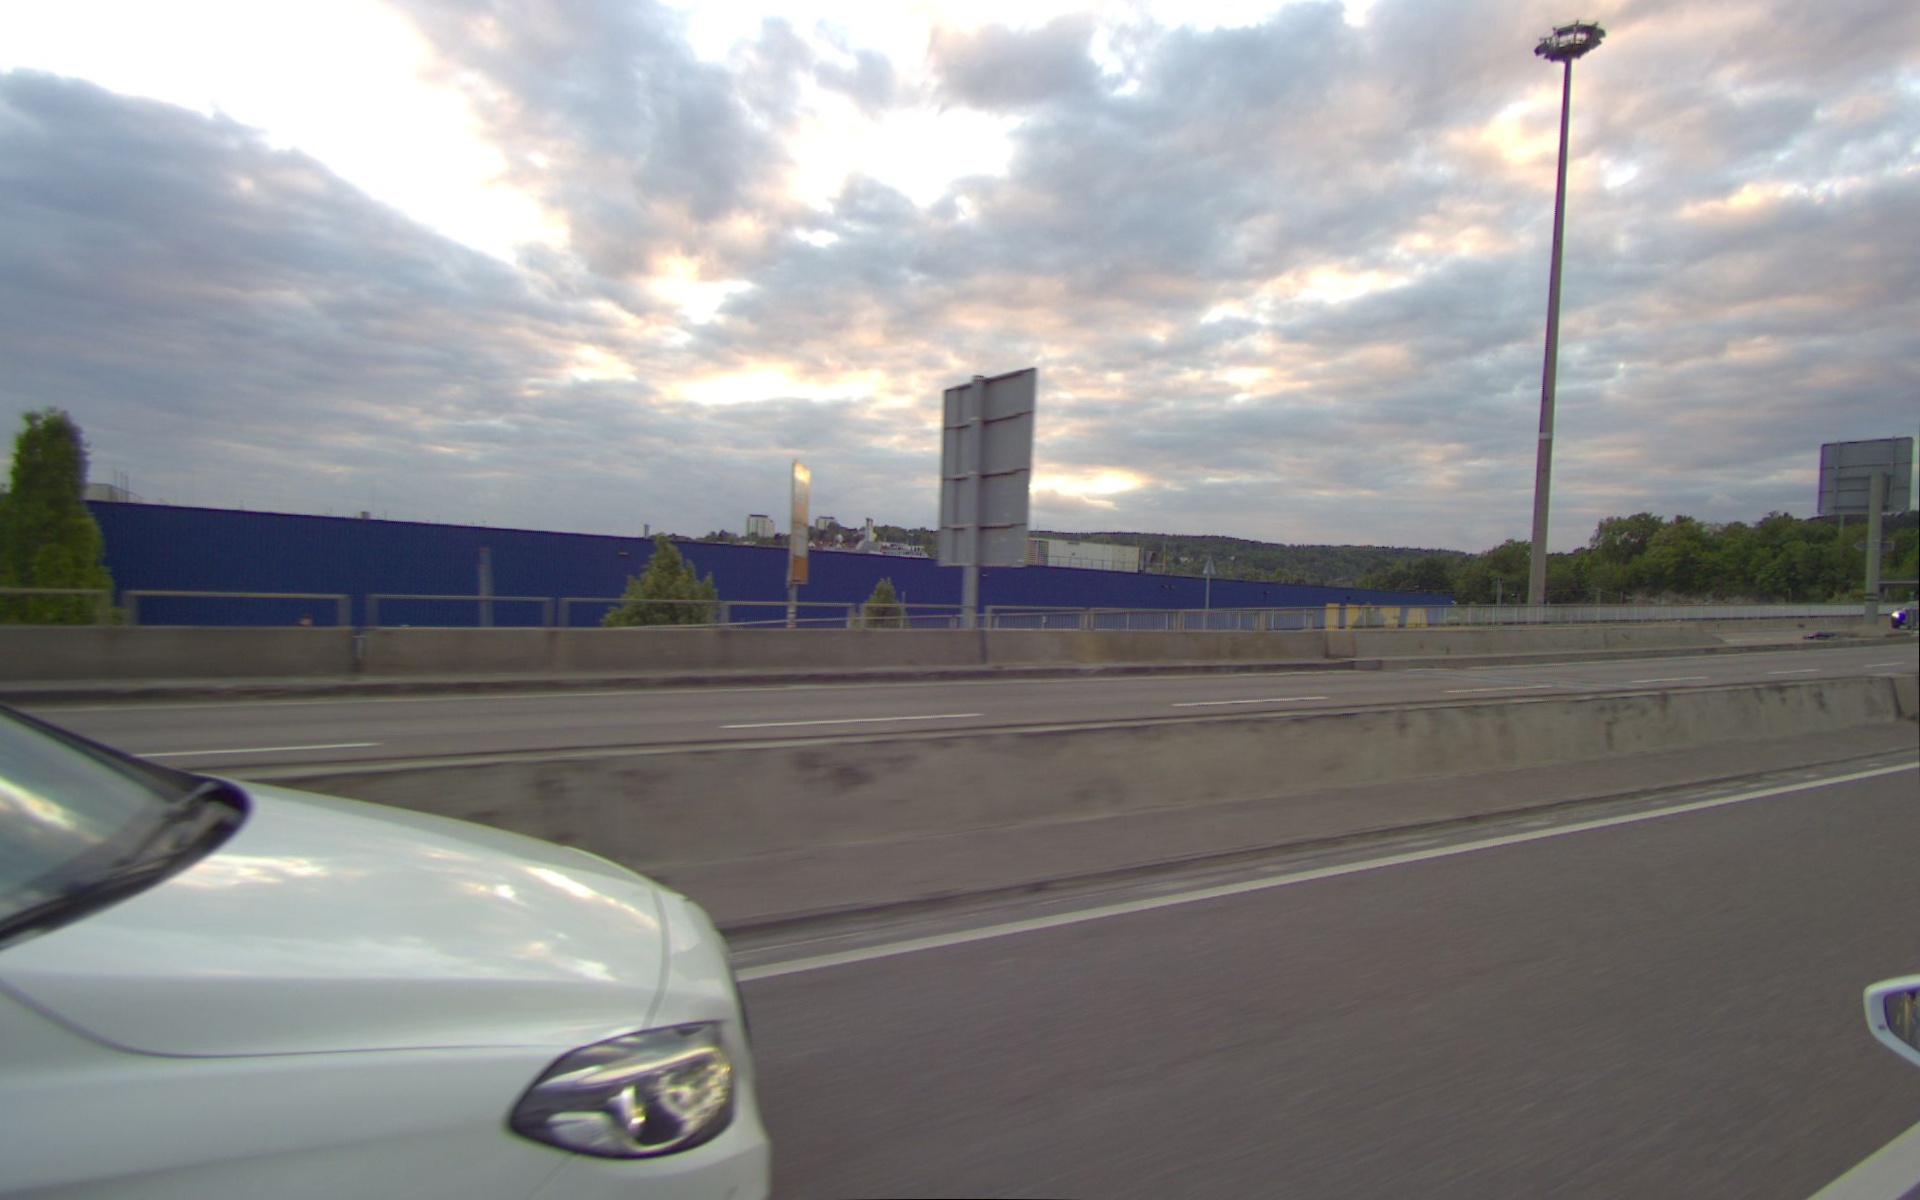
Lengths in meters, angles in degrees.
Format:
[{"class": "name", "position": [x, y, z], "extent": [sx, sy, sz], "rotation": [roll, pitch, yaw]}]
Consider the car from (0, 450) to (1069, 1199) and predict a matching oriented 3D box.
[{"class": "car", "position": [-2.297, 0.606, 1.225], "extent": [4.724, 1.557, 1.683], "rotation": [1, 0, -29]}]

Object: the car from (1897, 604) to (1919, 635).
[{"class": "car", "position": [57.459, 1.179, 59.641], "extent": [3.954, 1.740, 1.628], "rotation": [1, 2, -31]}]
